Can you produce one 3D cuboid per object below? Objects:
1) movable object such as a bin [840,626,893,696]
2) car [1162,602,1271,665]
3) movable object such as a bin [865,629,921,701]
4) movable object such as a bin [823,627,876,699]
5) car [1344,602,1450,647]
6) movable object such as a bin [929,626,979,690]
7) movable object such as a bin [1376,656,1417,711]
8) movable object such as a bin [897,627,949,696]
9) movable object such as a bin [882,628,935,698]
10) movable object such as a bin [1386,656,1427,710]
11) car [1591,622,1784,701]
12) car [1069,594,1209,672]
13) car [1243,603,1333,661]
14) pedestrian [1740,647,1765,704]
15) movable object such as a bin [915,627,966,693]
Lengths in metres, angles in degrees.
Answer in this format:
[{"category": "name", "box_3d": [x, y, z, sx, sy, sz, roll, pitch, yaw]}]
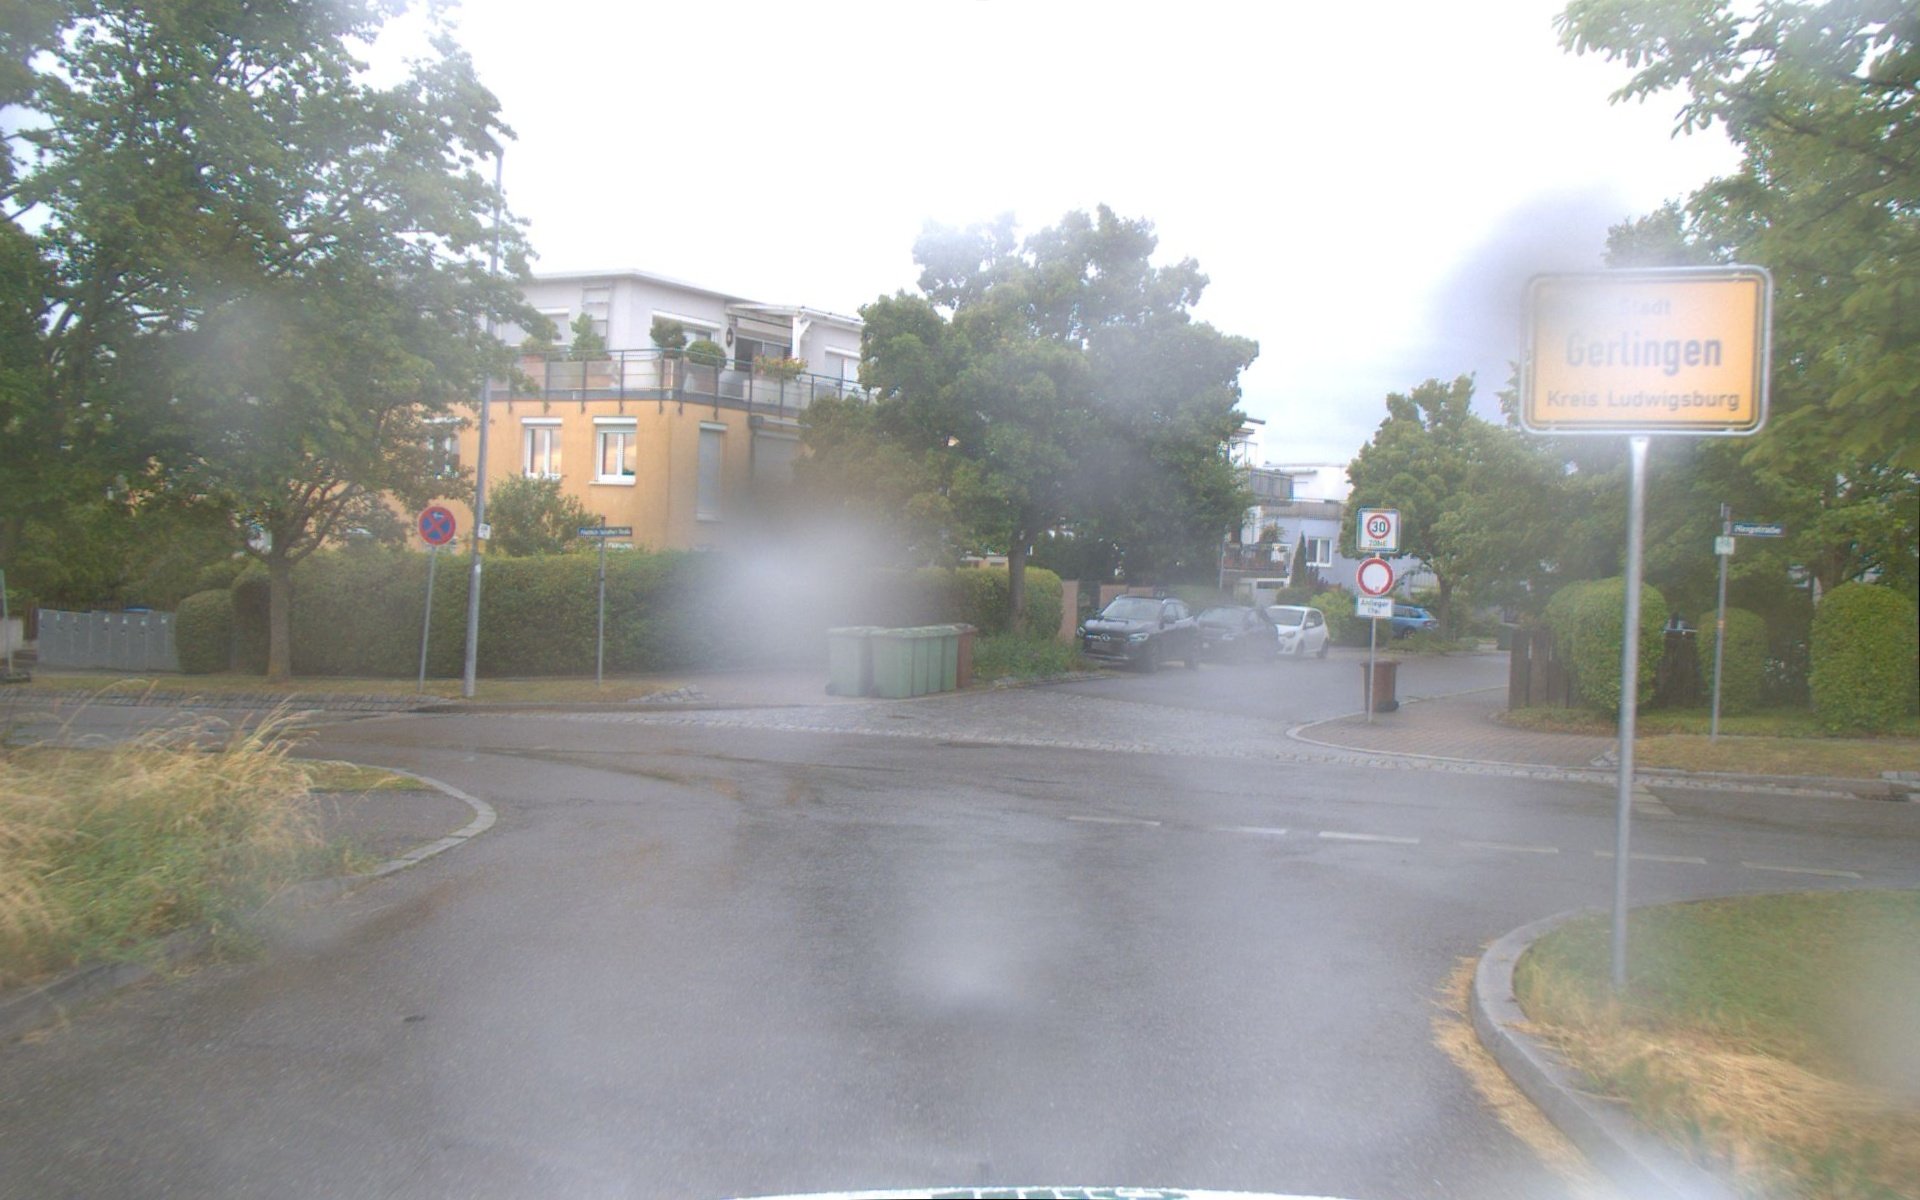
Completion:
[{"category": "movable object such as a bin", "box_3d": [-1.534, 0.987, 27.142, 0.680, 1.091, 0.598, 2, 1, 20]}, {"category": "car", "box_3d": [6.700, 0.847, 42.947, 1.605, 1.433, 3.598, 5, 1, 29]}, {"category": "movable object such as a bin", "box_3d": [-1.065, 1.023, 26.348, 0.680, 1.093, 0.602, 2, 1, 20]}, {"category": "movable object such as a bin", "box_3d": [-1.774, 1.005, 26.566, 0.651, 1.092, 0.544, 2, 1, 20]}, {"category": "car", "box_3d": [17.899, 0.981, 67.749, 3.908, 1.595, 1.907, 3, 0, 24]}, {"category": "movable object such as a bin", "box_3d": [-0.098, 1.003, 28.791, 0.680, 1.073, 0.605, 2, 1, 20]}, {"category": "movable object such as a bin", "box_3d": [7.883, 1.502, 29.865, 0.560, 0.947, 0.529, 3, 0, 33]}, {"category": "movable object such as a bin", "box_3d": [-0.621, 1.011, 27.507, 0.680, 1.085, 0.579, 2, 1, 20]}, {"category": "movable object such as a bin", "box_3d": [-0.833, 1.021, 26.924, 0.680, 1.093, 0.544, 2, 1, 20]}, {"category": "movable object such as a bin", "box_3d": [8.196, 1.513, 30.350, 0.560, 0.947, 0.529, 3, 0, 33]}, {"category": "car", "box_3d": [17.248, 1.423, 39.255, 3.919, 1.693, 1.773, 1, 0, 35]}, {"category": "car", "box_3d": [4.135, 0.727, 37.637, 1.742, 1.544, 4.132, 5, 1, 27]}, {"category": "car", "box_3d": [9.407, 0.901, 47.302, 1.483, 1.502, 3.267, 5, 1, 30]}, {"category": "pedestrian", "box_3d": [18.003, 1.712, 37.556, 0.419, 1.251, 0.420, 1, 0, 35]}, {"category": "movable object such as a bin", "box_3d": [-0.332, 1.009, 28.076, 0.680, 1.073, 0.605, 2, 1, 20]}]
